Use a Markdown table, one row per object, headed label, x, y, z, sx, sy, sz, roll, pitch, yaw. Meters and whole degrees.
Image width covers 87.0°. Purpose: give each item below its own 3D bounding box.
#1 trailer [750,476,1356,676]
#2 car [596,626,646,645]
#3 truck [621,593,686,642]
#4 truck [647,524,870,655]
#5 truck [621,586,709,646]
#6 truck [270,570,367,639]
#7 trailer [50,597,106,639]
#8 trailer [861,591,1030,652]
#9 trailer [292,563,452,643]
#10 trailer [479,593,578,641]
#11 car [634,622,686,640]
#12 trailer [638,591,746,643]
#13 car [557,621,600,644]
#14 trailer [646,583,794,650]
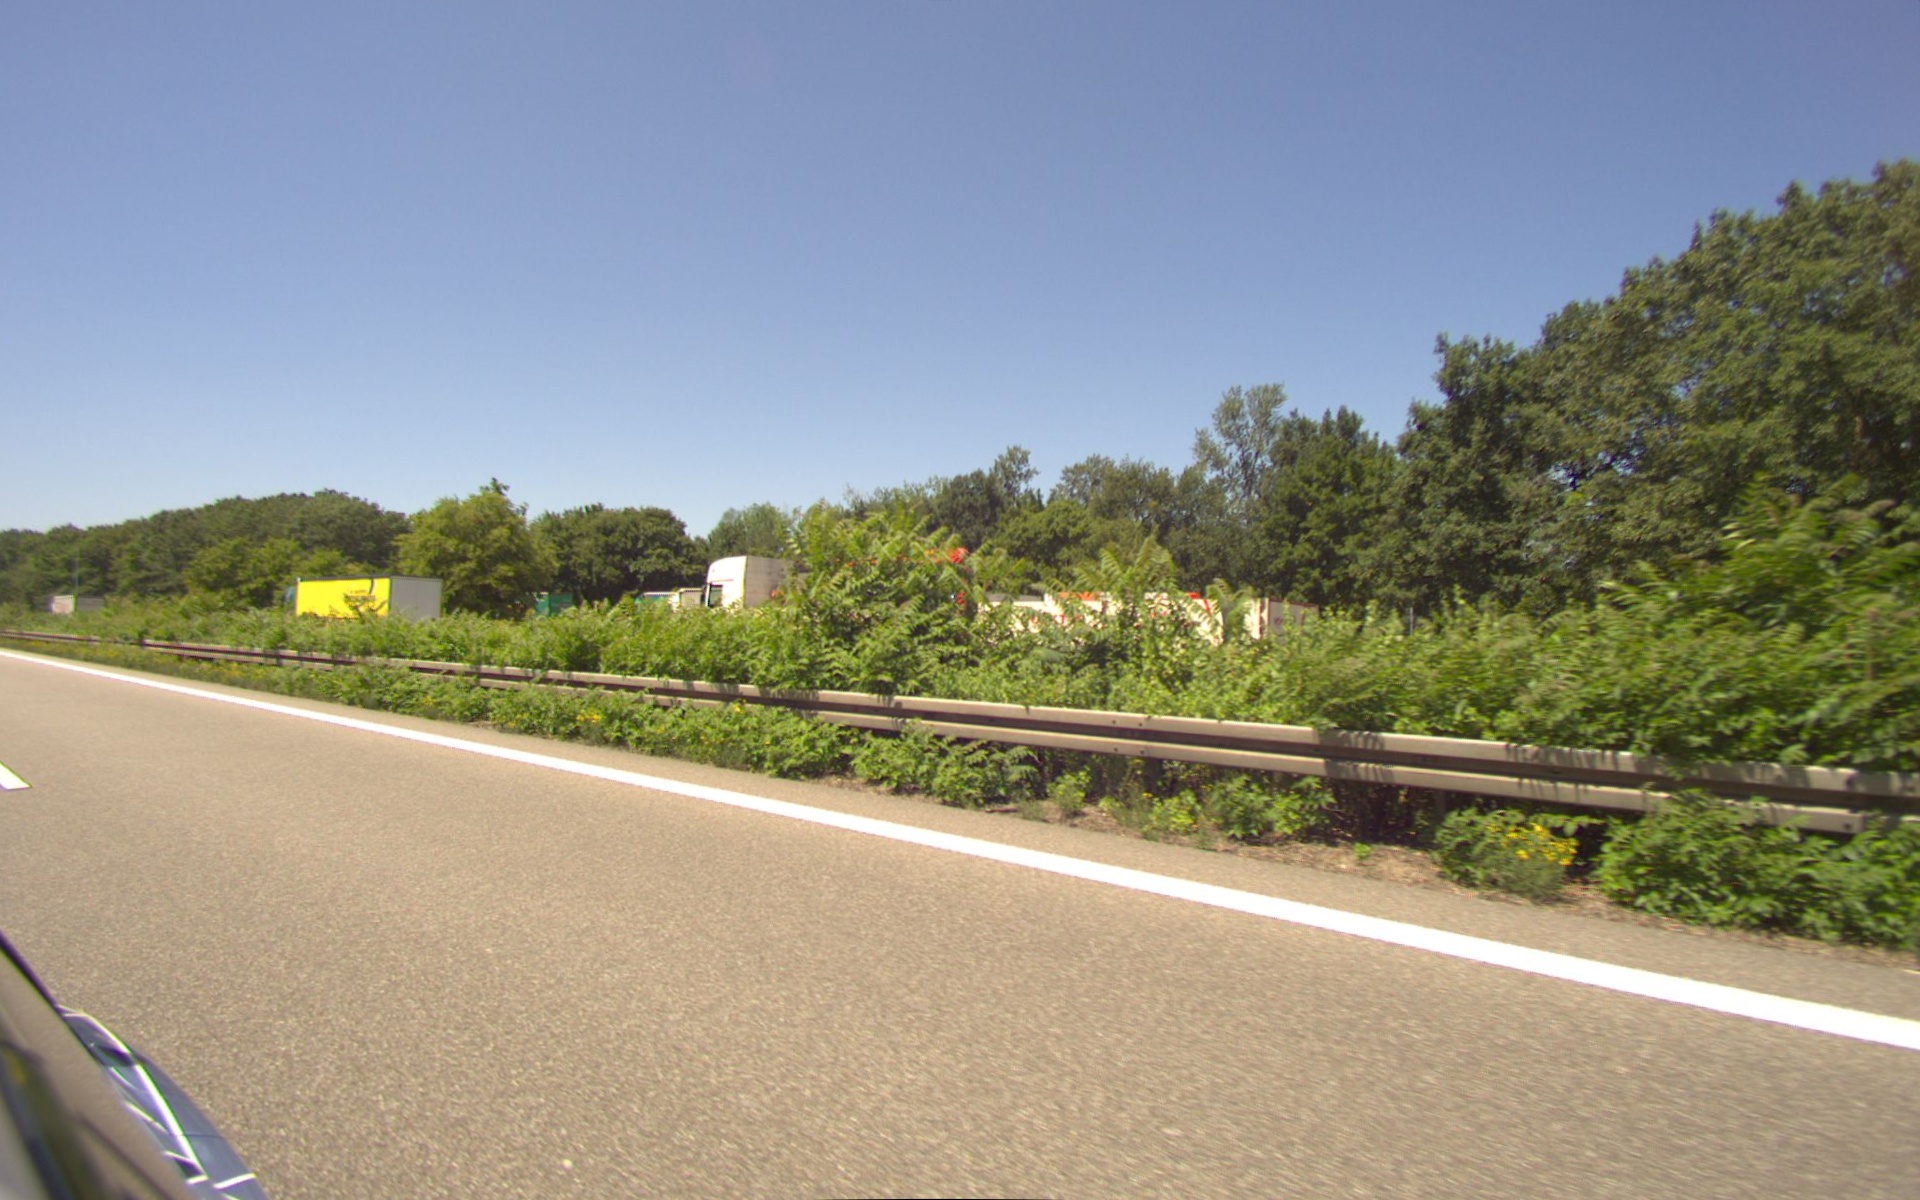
| label | x | y | z | sx | sy | sz | roll | pitch | yaw |
| --- | --- | --- | --- | --- | --- | --- | --- | --- | --- |
| trailer | 1.048 | -0.365 | 24.744 | 15.961 | 3.607 | 3.164 | -1 | 0 | 41 |
| car | -29.052 | 3.026 | 86.765 | 4.168 | 1.618 | 1.788 | -1 | -2 | 30 |
| truck | -30.539 | 1.768 | 100.631 | 3.558 | 4.627 | 6.603 | 2 | -2 | -44 |
| truck | -6.339 | -0.271 | 31.277 | 6.993 | 3.607 | 3.164 | -1 | 0 | 41 |
| truck | -21.951 | 1.139 | 75.003 | 3.178 | 4.167 | 7.398 | -1 | 0 | -44 |
| truck | -37.916 | 0.277 | 59.726 | 6.393 | 3.854 | 3.164 | -1 | 0 | 42 |
| trailer | -94.600 | 1.859 | 108.461 | 11.480 | 4.304 | 2.873 | -1 | 0 | 40 |
| trailer | -1.317 | 1.454 | 67.147 | 3.554 | 3.684 | 14.053 | 2 | -2 | -37 |
| trailer | -31.817 | 0.199 | 54.280 | 14.018 | 3.854 | 3.164 | -1 | 0 | 42 |
| trailer | -43.823 | 1.768 | 102.406 | 14.019 | 4.627 | 3.562 | -1 | -2 | 42 |
| car | -24.852 | 2.570 | 83.790 | 4.448 | 1.476 | 1.783 | -1 | -2 | 37 |
| trailer | -25.439 | 1.650 | 95.247 | 3.558 | 4.627 | 14.035 | 2 | -2 | -43 |
| car | -34.848 | 2.917 | 92.300 | 1.970 | 2.029 | 4.727 | 2 | -2 | -44 |
| trailer | -16.792 | 1.073 | 69.568 | 3.178 | 4.167 | 14.062 | -1 | 0 | -44 |
